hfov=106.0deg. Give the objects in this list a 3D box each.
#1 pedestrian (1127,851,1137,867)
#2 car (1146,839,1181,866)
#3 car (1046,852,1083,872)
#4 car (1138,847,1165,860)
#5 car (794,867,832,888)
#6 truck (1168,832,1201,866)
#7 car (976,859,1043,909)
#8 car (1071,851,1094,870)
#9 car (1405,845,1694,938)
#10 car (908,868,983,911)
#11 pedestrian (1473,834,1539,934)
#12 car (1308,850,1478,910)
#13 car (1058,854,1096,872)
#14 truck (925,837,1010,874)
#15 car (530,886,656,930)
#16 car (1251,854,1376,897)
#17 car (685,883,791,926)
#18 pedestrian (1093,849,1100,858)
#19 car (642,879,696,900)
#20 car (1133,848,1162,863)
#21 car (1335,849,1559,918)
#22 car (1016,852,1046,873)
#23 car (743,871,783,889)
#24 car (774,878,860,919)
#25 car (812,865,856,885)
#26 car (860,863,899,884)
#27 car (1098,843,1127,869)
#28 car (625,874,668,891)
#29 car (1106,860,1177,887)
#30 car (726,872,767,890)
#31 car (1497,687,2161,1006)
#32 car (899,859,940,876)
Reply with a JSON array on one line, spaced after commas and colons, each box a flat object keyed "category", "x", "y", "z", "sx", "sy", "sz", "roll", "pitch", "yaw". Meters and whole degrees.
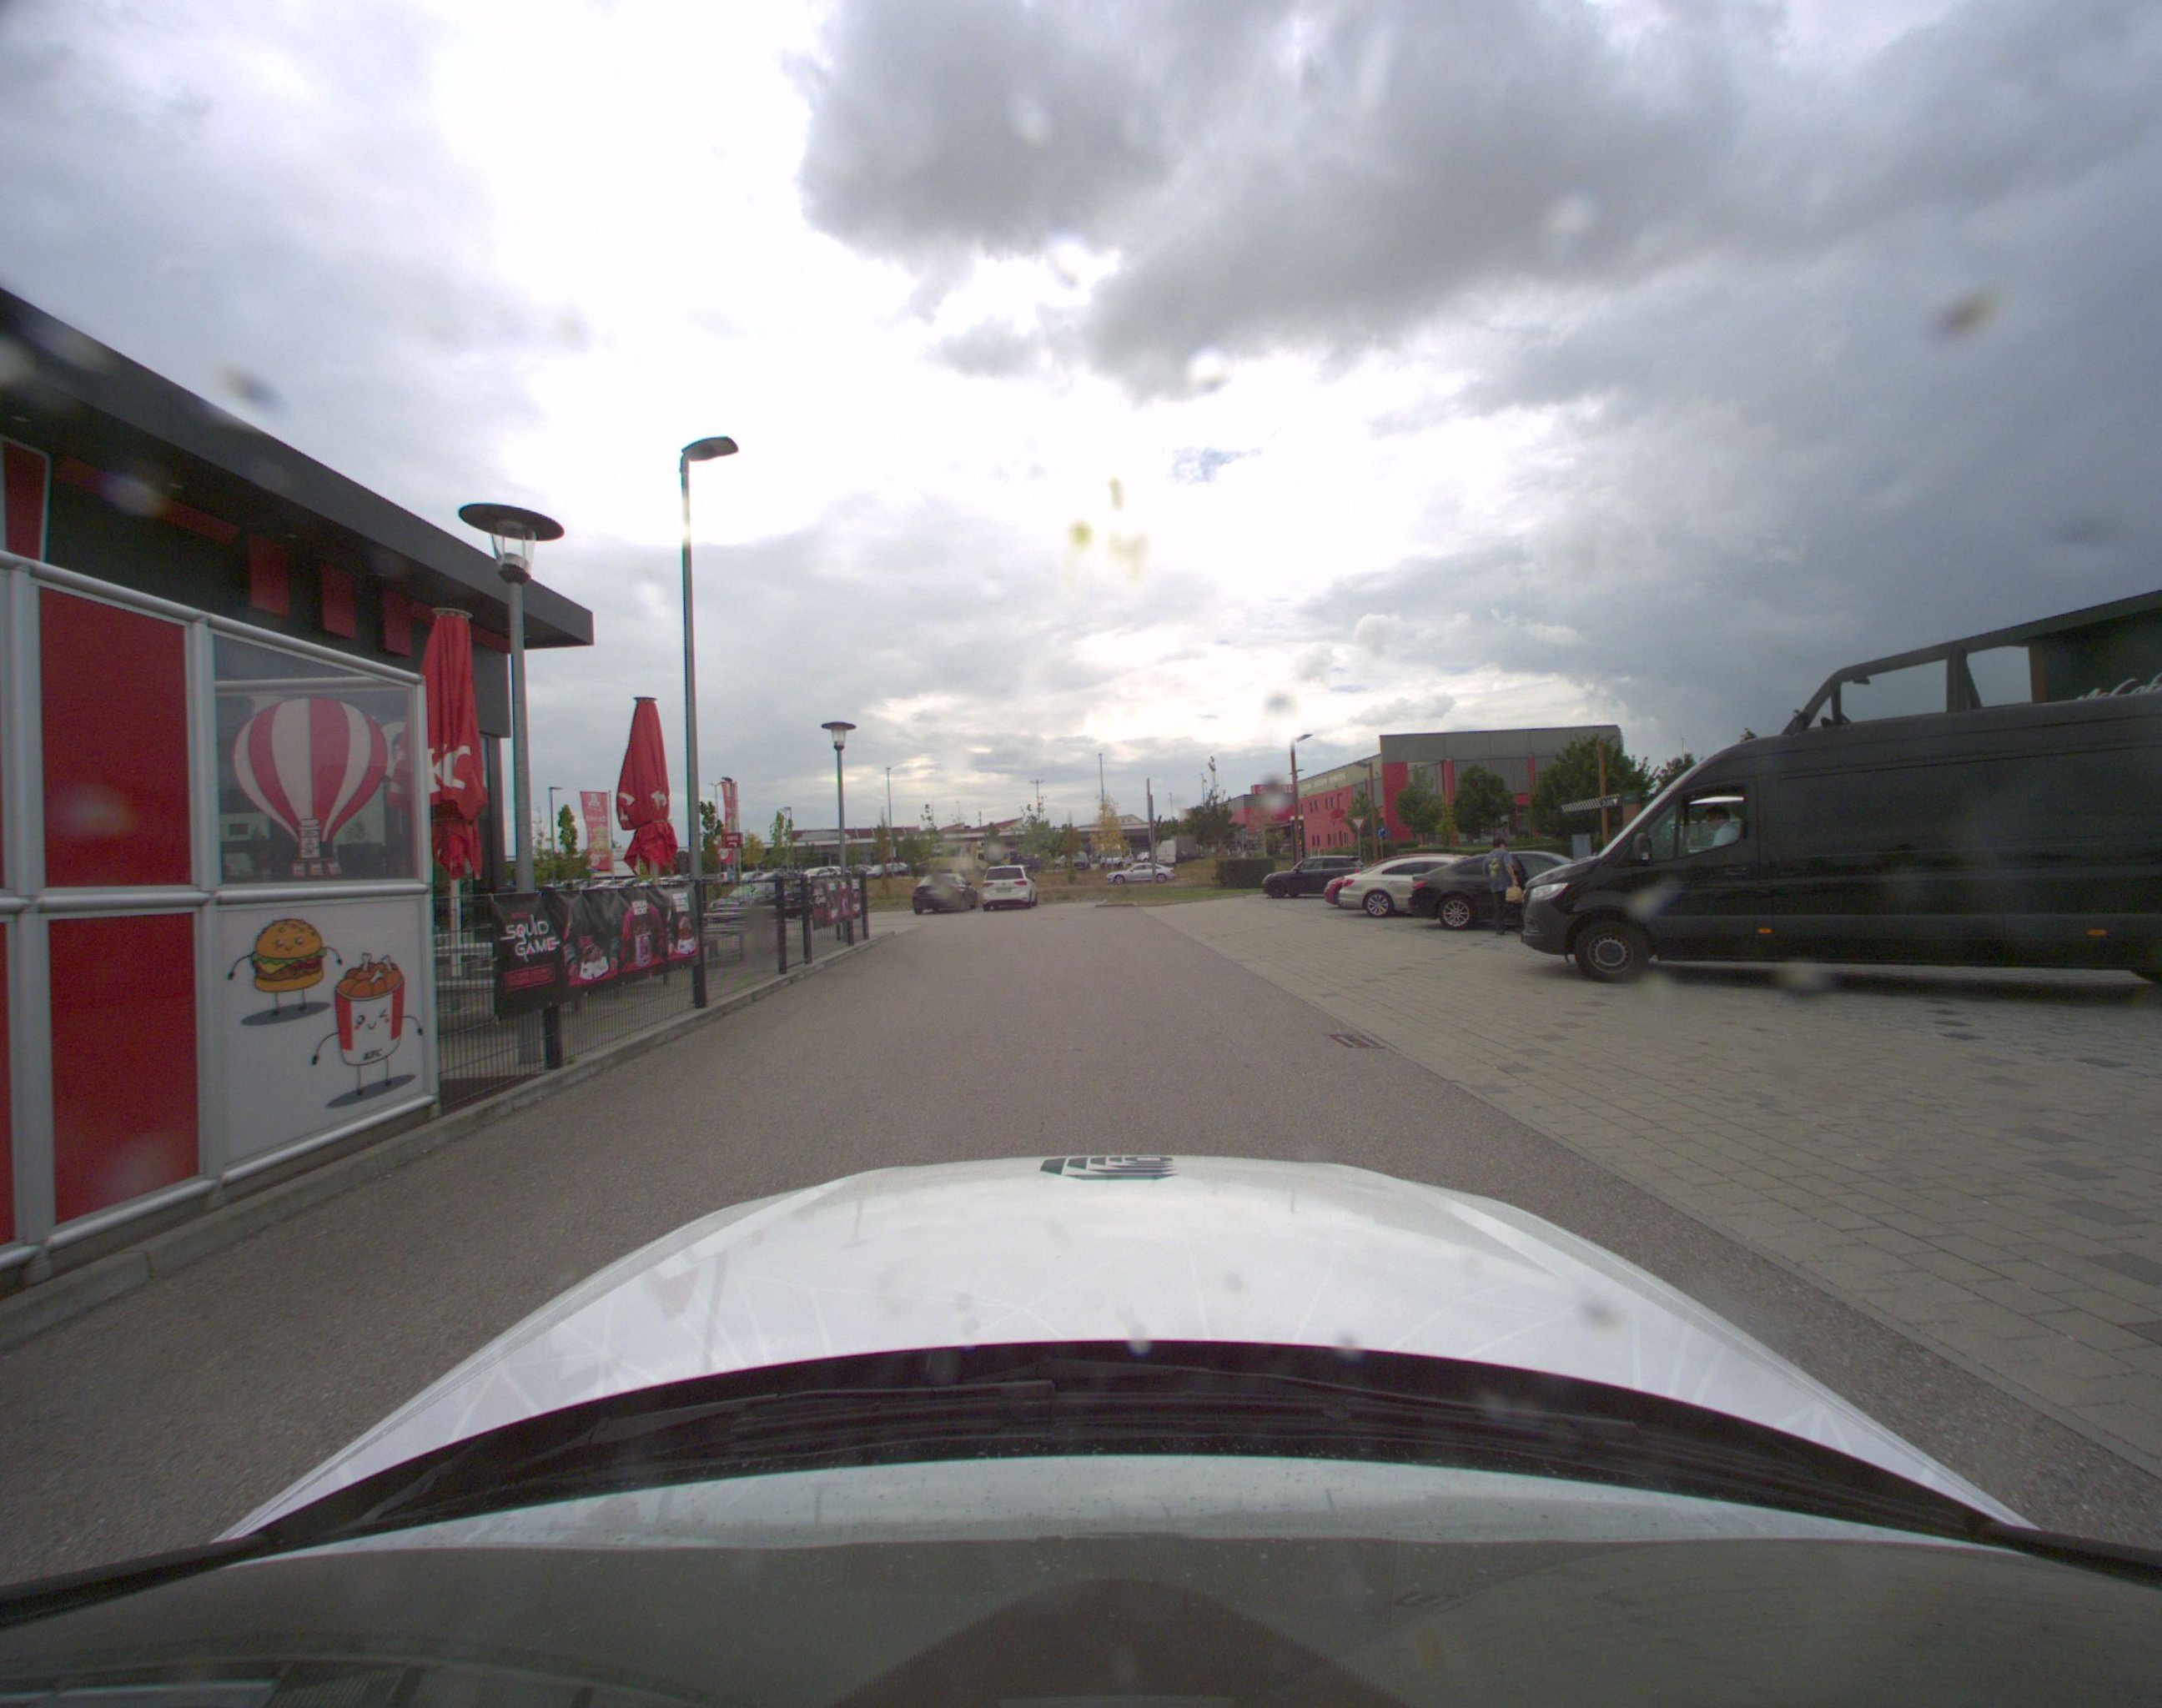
[{"category": "pedestrian", "x": 4.776, "y": 0.439, "z": 76.223, "sx": 0.782, "sy": 1.429, "sz": 0.978, "roll": -3, "pitch": 1, "yaw": 1}, {"category": "car", "x": 7.693, "y": -0.186, "z": 77.031, "sx": 2.332, "sy": 2.267, "sz": 6.501, "roll": -3, "pitch": 1, "yaw": -2}, {"category": "car", "x": -1.902, "y": 0.876, "z": 92.249, "sx": 3.984, "sy": 2.013, "sz": 1.995, "roll": -3, "pitch": 1, "yaw": -8}, {"category": "car", "x": 10.656, "y": -0.123, "z": 123.853, "sx": 3.971, "sy": 1.736, "sz": 1.936, "roll": -3, "pitch": 1, "yaw": 2}, {"category": "car", "x": -26.765, "y": 2.342, "z": 81.405, "sx": 1.984, "sy": 1.771, "sz": 4.328, "roll": -3, "pitch": 1, "yaw": 5}, {"category": "truck", "x": 12.404, "y": -0.652, "z": 97.995, "sx": 2.640, "sy": 3.743, "sz": 8.253, "roll": -3, "pitch": 1, "yaw": -1}, {"category": "car", "x": -2.672, "y": 1.159, "z": 31.409, "sx": 1.978, "sy": 1.713, "sz": 4.374, "roll": -2, "pitch": -2, "yaw": 2}, {"category": "car", "x": 0.144, "y": 0.569, "z": 76.878, "sx": 2.064, "sy": 1.638, "sz": 5.070, "roll": -2, "pitch": 1, "yaw": 0}, {"category": "car", "x": 8.518, "y": 0.651, "z": 15.045, "sx": 4.350, "sy": 1.463, "sz": 1.698, "roll": -2, "pitch": -1, "yaw": 40}, {"category": "car", "x": -5.125, "y": 1.355, "z": 31.408, "sx": 1.934, "sy": 1.466, "sz": 4.518, "roll": -2, "pitch": -2, "yaw": 2}, {"category": "pedestrian", "x": 7.455, "y": 0.518, "z": 14.279, "sx": 0.832, "sy": 1.678, "sz": 0.754, "roll": -3, "pitch": -3, "yaw": 40}, {"category": "car", "x": 8.462, "y": 0.700, "z": 22.235, "sx": 3.948, "sy": 1.464, "sz": 1.698, "roll": -2, "pitch": -1, "yaw": 38}, {"category": "car", "x": -0.465, "y": 0.939, "z": 88.001, "sx": 3.975, "sy": 1.738, "sz": 1.890, "roll": -3, "pitch": 1, "yaw": -1}, {"category": "truck", "x": -11.012, "y": 0.183, "z": 78.571, "sx": 8.322, "sy": 3.195, "sz": 3.049, "roll": -2, "pitch": 1, "yaw": 38}, {"category": "car", "x": -19.805, "y": 2.153, "z": 33.318, "sx": 1.908, "sy": 1.541, "sz": 4.556, "roll": -3, "pitch": -2, "yaw": 9}, {"category": "car", "x": 8.192, "y": 0.756, "z": 28.864, "sx": 3.879, "sy": 1.412, "sz": 1.698, "roll": -2, "pitch": -1, "yaw": 36}, {"category": "car", "x": -13.091, "y": 1.891, "z": 31.472, "sx": 1.898, "sy": 1.456, "sz": 4.744, "roll": -2, "pitch": -2, "yaw": 2}, {"category": "pedestrian", "x": 2.601, "y": -0.073, "z": 136.554, "sx": 0.656, "sy": 1.429, "sz": 0.789, "roll": -4, "pitch": 1, "yaw": -37}, {"category": "car", "x": -31.415, "y": 2.712, "z": 62.133, "sx": 3.428, "sy": 1.370, "sz": 1.437, "roll": -3, "pitch": 1, "yaw": 9}, {"category": "car", "x": 9.443, "y": 0.156, "z": 115.321, "sx": 3.971, "sy": 1.837, "sz": 2.002, "roll": -3, "pitch": 1, "yaw": 2}, {"category": "car", "x": 8.406, "y": 0.670, "z": 18.926, "sx": 4.402, "sy": 1.412, "sz": 1.765, "roll": -2, "pitch": -1, "yaw": 39}, {"category": "car", "x": -4.737, "y": 0.788, "z": 77.823, "sx": 2.061, "sy": 1.884, "sz": 5.078, "roll": -2, "pitch": -1, "yaw": 6}, {"category": "car", "x": -32.280, "y": 2.627, "z": 82.772, "sx": 1.754, "sy": 1.539, "sz": 4.070, "roll": -3, "pitch": 1, "yaw": 13}, {"category": "car", "x": -10.153, "y": 1.690, "z": 31.643, "sx": 1.875, "sy": 1.412, "sz": 4.072, "roll": -2, "pitch": -2, "yaw": 2}, {"category": "car", "x": -26.126, "y": 2.220, "z": 86.082, "sx": 3.953, "sy": 1.771, "sz": 2.010, "roll": -3, "pitch": 1, "yaw": 20}, {"category": "car", "x": -19.668, "y": 1.855, "z": 79.671, "sx": 1.912, "sy": 1.771, "sz": 4.337, "roll": -3, "pitch": 1, "yaw": 13}, {"category": "car", "x": 2.938, "y": 0.127, "z": 77.196, "sx": 2.400, "sy": 2.214, "sz": 6.059, "roll": -2, "pitch": 1, "yaw": 0}, {"category": "car", "x": -47.071, "y": 3.070, "z": 88.318, "sx": 1.981, "sy": 1.539, "sz": 4.067, "roll": -3, "pitch": 1, "yaw": 10}, {"category": "car", "x": 4.251, "y": 1.381, "z": 57.562, "sx": 4.820, "sy": 1.552, "sz": 1.803, "roll": -3, "pitch": 1, "yaw": 2}, {"category": "car", "x": -34.388, "y": 2.719, "z": 83.793, "sx": 1.754, "sy": 1.539, "sz": 4.070, "roll": -3, "pitch": 1, "yaw": 13}, {"category": "car", "x": 8.254, "y": -0.022, "z": 8.154, "sx": 6.922, "sy": 2.553, "sz": 2.086, "roll": -3, "pitch": -1, "yaw": 38}, {"category": "car", "x": -18.724, "y": 1.556, "z": 94.701, "sx": 4.293, "sy": 1.771, "sz": 2.000, "roll": -3, "pitch": 1, "yaw": 0}]
